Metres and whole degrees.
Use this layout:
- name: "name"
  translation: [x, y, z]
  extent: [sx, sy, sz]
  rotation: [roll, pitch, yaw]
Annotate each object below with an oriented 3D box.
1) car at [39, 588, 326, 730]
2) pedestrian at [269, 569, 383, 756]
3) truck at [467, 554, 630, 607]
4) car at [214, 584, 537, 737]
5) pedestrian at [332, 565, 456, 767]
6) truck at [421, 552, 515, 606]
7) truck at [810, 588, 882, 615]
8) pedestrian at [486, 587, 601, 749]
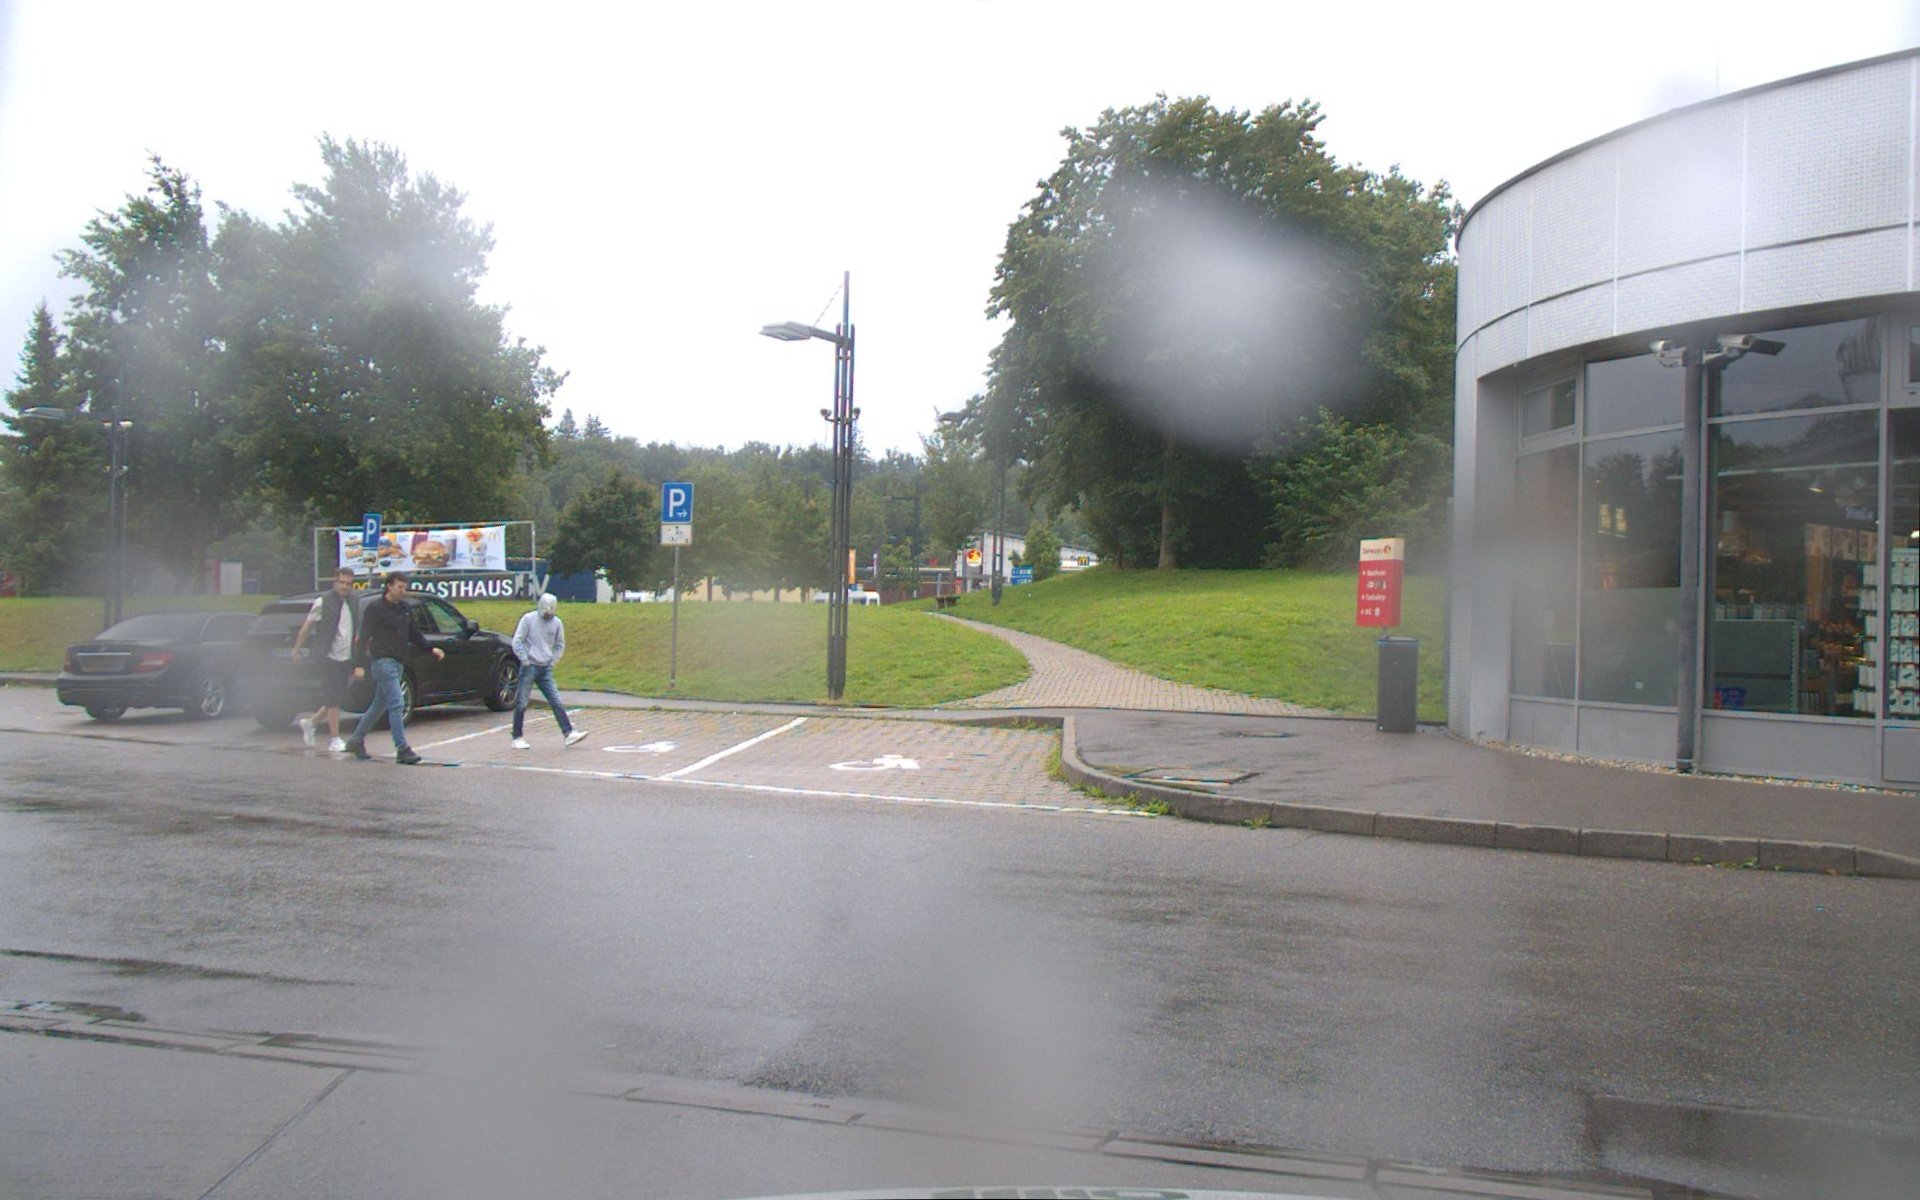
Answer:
- name: "car"
  translation: [-10.573, 0.718, 22.896]
  extent: [1.976, 1.741, 4.342]
  rotation: [-1, 1, -2]
- name: "pedestrian"
  translation: [-6.703, 0.639, 17.490]
  extent: [0.934, 1.920, 0.701]
  rotation: [1, -1, 35]
- name: "truck"
  translation: [-24.923, -1.091, 101.277]
  extent: [2.142, 2.971, 13.092]
  rotation: [1, 0, 23]
- name: "car"
  translation: [-7.366, 0.692, 21.378]
  extent: [1.973, 1.741, 4.347]
  rotation: [-1, 1, 11]
- name: "pedestrian"
  translation: [-5.555, 0.626, 16.261]
  extent: [0.872, 1.920, 0.704]
  rotation: [1, -1, 19]
- name: "truck"
  translation: [-27.975, -1.175, 94.262]
  extent: [2.142, 2.971, 5.384]
  rotation: [1, 0, 24]
- name: "truck"
  translation: [-9.224, 0.134, 133.674]
  extent: [5.298, 2.049, 2.366]
  rotation: [1, 0, 24]
- name: "pedestrian"
  translation: [-4.401, 0.702, 17.500]
  extent: [0.931, 1.660, 0.704]
  rotation: [1, -1, 16]
